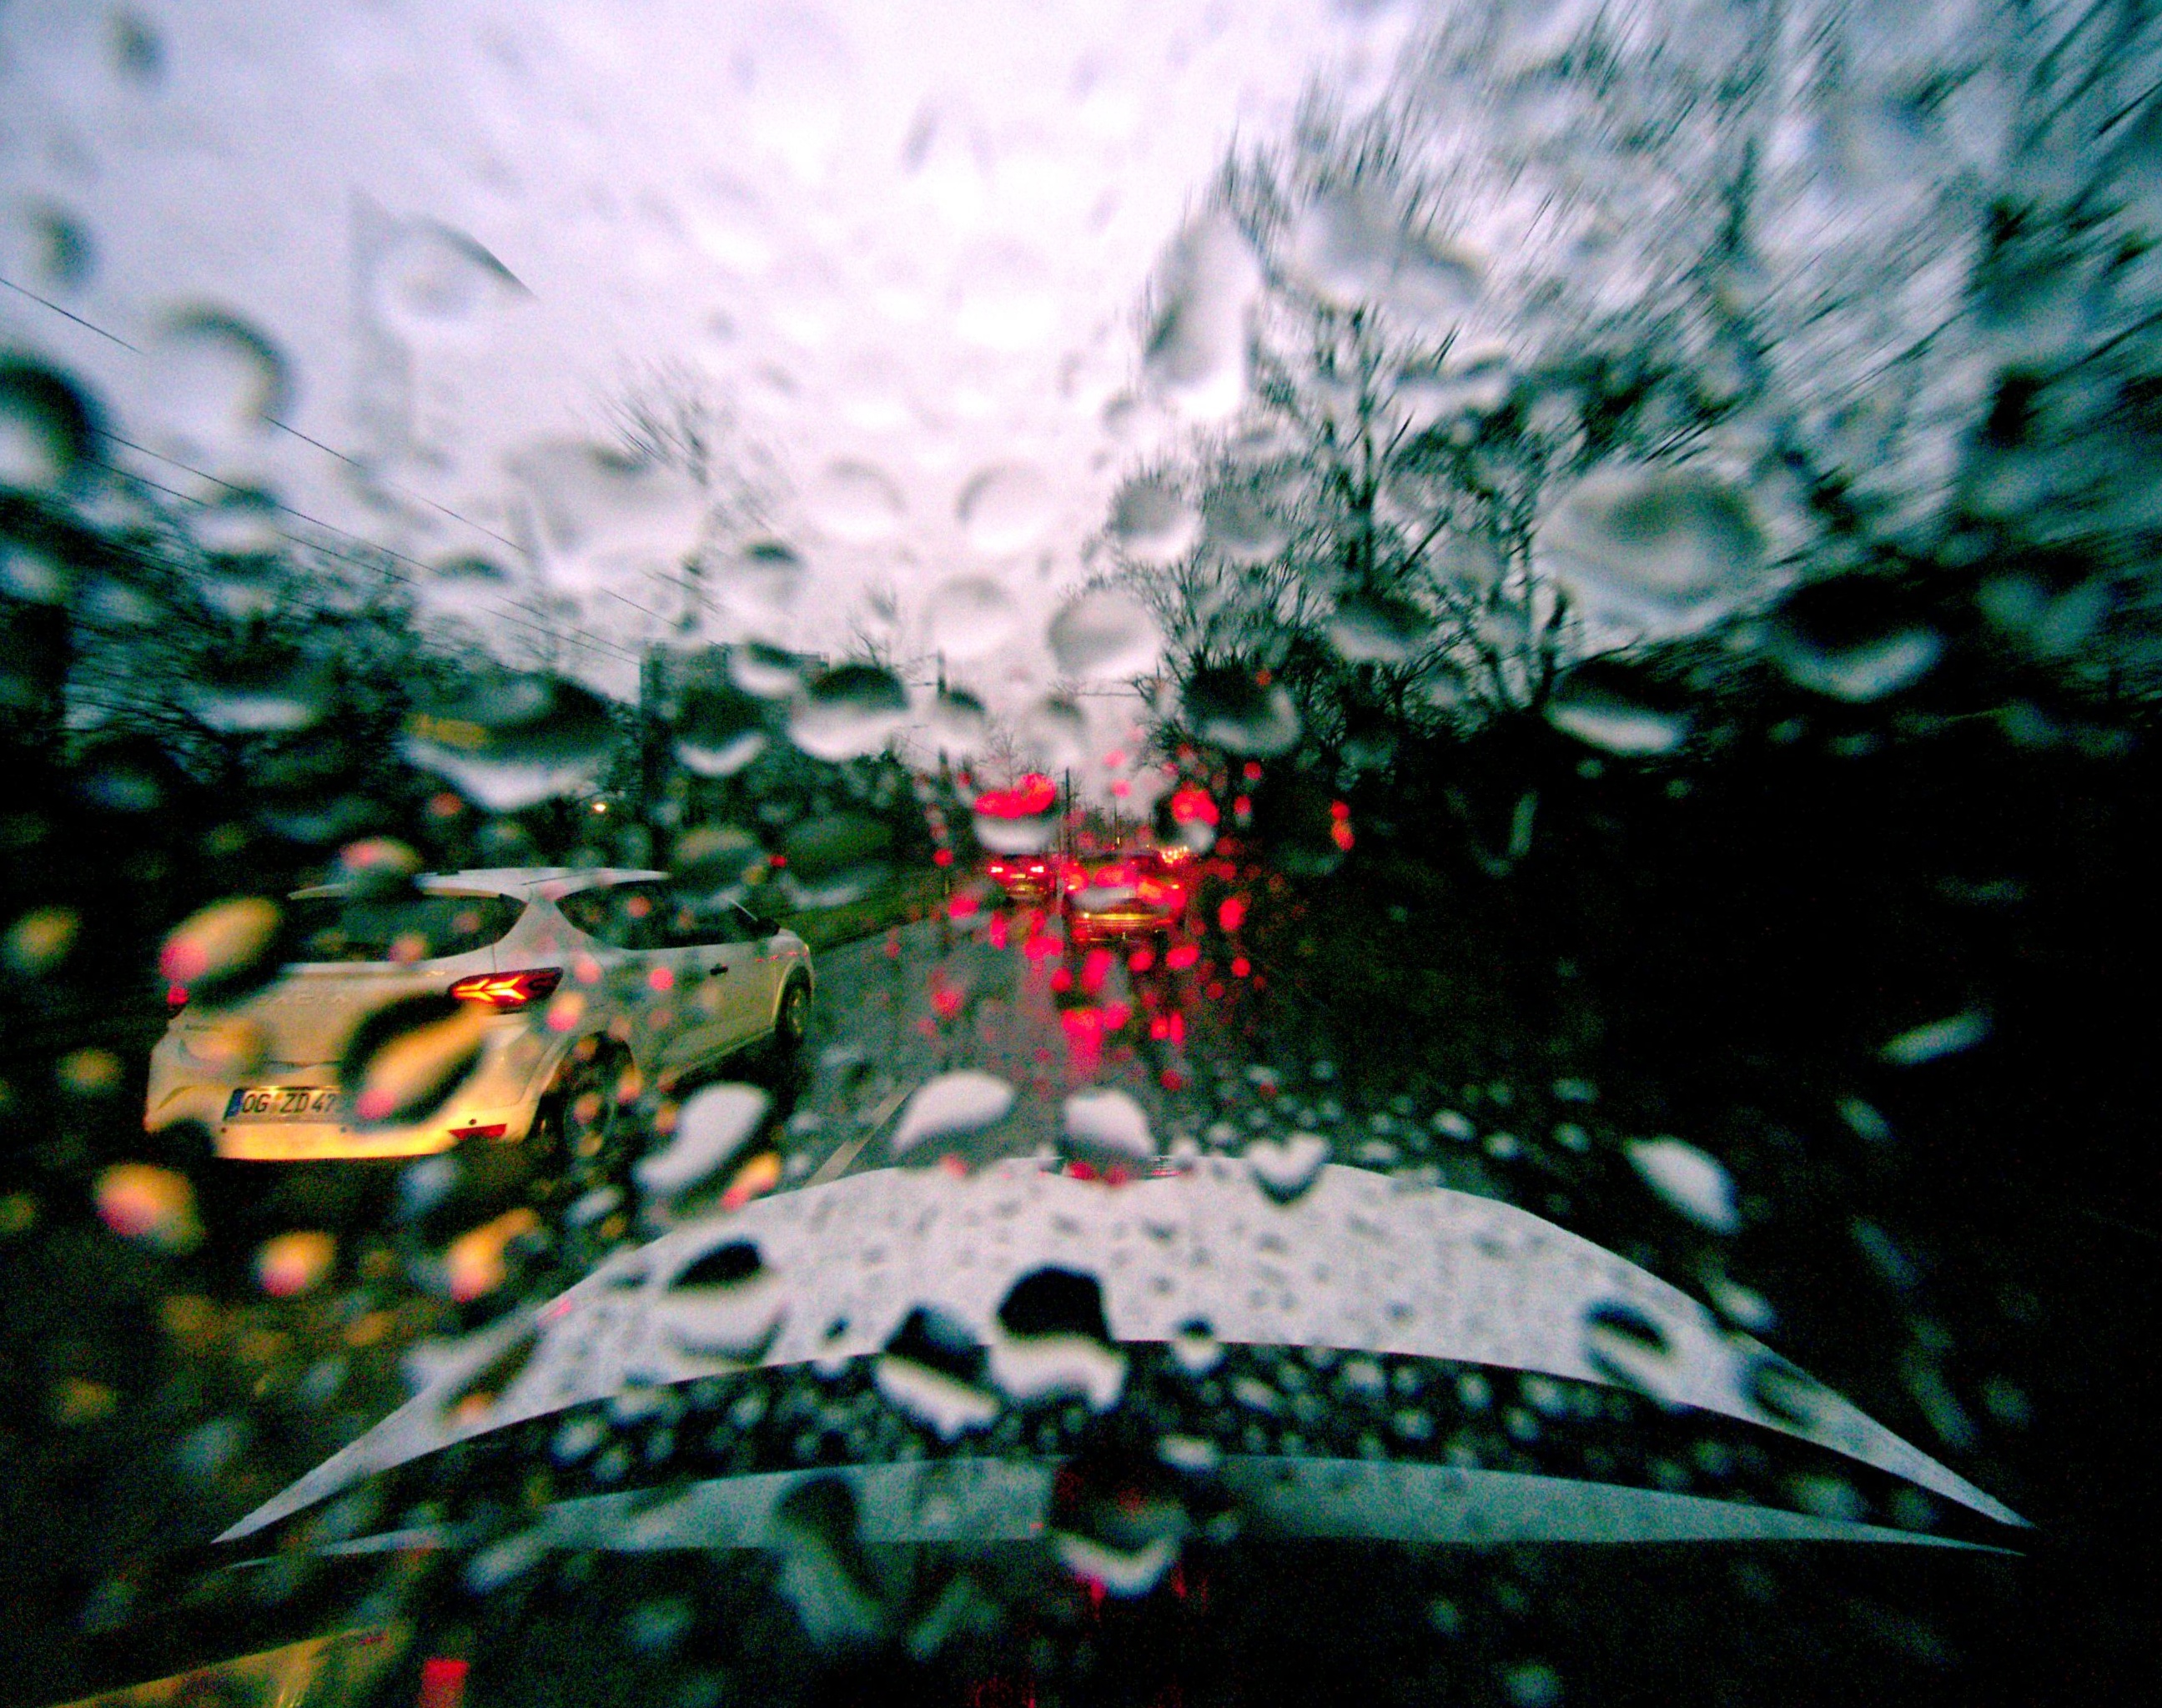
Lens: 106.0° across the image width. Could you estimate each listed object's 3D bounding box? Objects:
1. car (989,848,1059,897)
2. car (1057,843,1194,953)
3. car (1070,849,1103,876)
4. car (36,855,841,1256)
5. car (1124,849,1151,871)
[{"bbox_3d":[-1.821,0.574,27.428,1.873,1.459,4.003,-2,1,2],"label":"car"},{"bbox_3d":[0.669,0.634,13.941,1.991,1.584,4.000,-1,0,0],"label":"car"},{"bbox_3d":[0.379,0.524,52.935,1.872,1.593,4.004,-2,1,4],"label":"car"},{"bbox_3d":[-3.128,0.793,5.233,1.701,1.525,4.138,-1,0,3],"label":"car"},{"bbox_3d":[4.297,0.410,61.689,1.699,1.558,4.005,-1,0,8],"label":"car"}]
